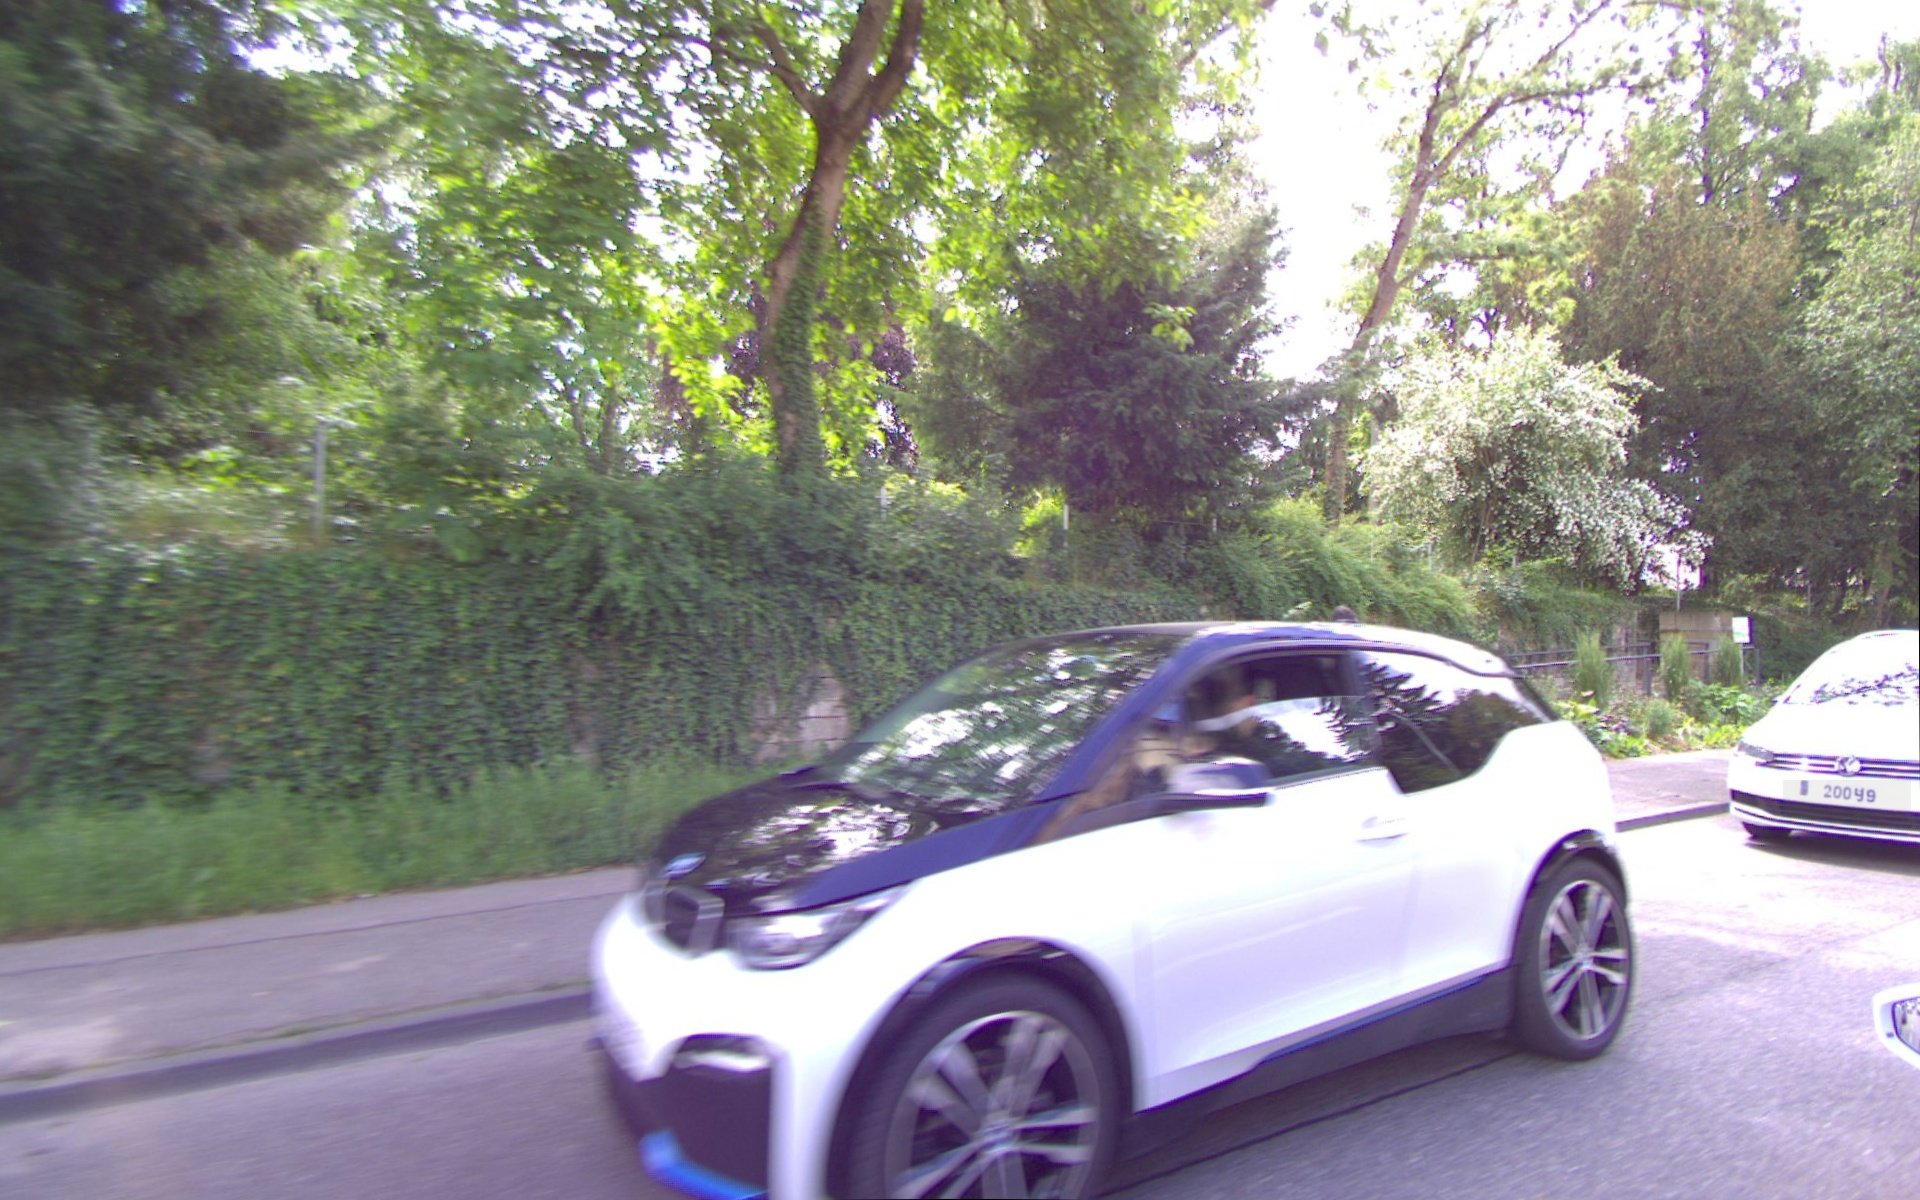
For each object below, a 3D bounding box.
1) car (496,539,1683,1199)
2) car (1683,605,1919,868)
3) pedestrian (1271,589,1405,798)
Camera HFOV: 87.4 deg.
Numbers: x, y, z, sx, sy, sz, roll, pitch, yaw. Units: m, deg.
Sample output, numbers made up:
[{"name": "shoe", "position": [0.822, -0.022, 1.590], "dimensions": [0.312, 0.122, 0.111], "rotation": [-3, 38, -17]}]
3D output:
[{"name": "car", "position": [0.591, 0.778, 3.737], "dimensions": [4.039, 1.566, 1.919], "rotation": [2, -4, -31]}, {"name": "car", "position": [7.795, 0.942, 7.887], "dimensions": [4.438, 1.669, 1.778], "rotation": [2, -3, -30]}, {"name": "pedestrian", "position": [3.254, 0.776, 8.648], "dimensions": [0.923, 1.688, 0.648], "rotation": [3, -2, -36]}]
